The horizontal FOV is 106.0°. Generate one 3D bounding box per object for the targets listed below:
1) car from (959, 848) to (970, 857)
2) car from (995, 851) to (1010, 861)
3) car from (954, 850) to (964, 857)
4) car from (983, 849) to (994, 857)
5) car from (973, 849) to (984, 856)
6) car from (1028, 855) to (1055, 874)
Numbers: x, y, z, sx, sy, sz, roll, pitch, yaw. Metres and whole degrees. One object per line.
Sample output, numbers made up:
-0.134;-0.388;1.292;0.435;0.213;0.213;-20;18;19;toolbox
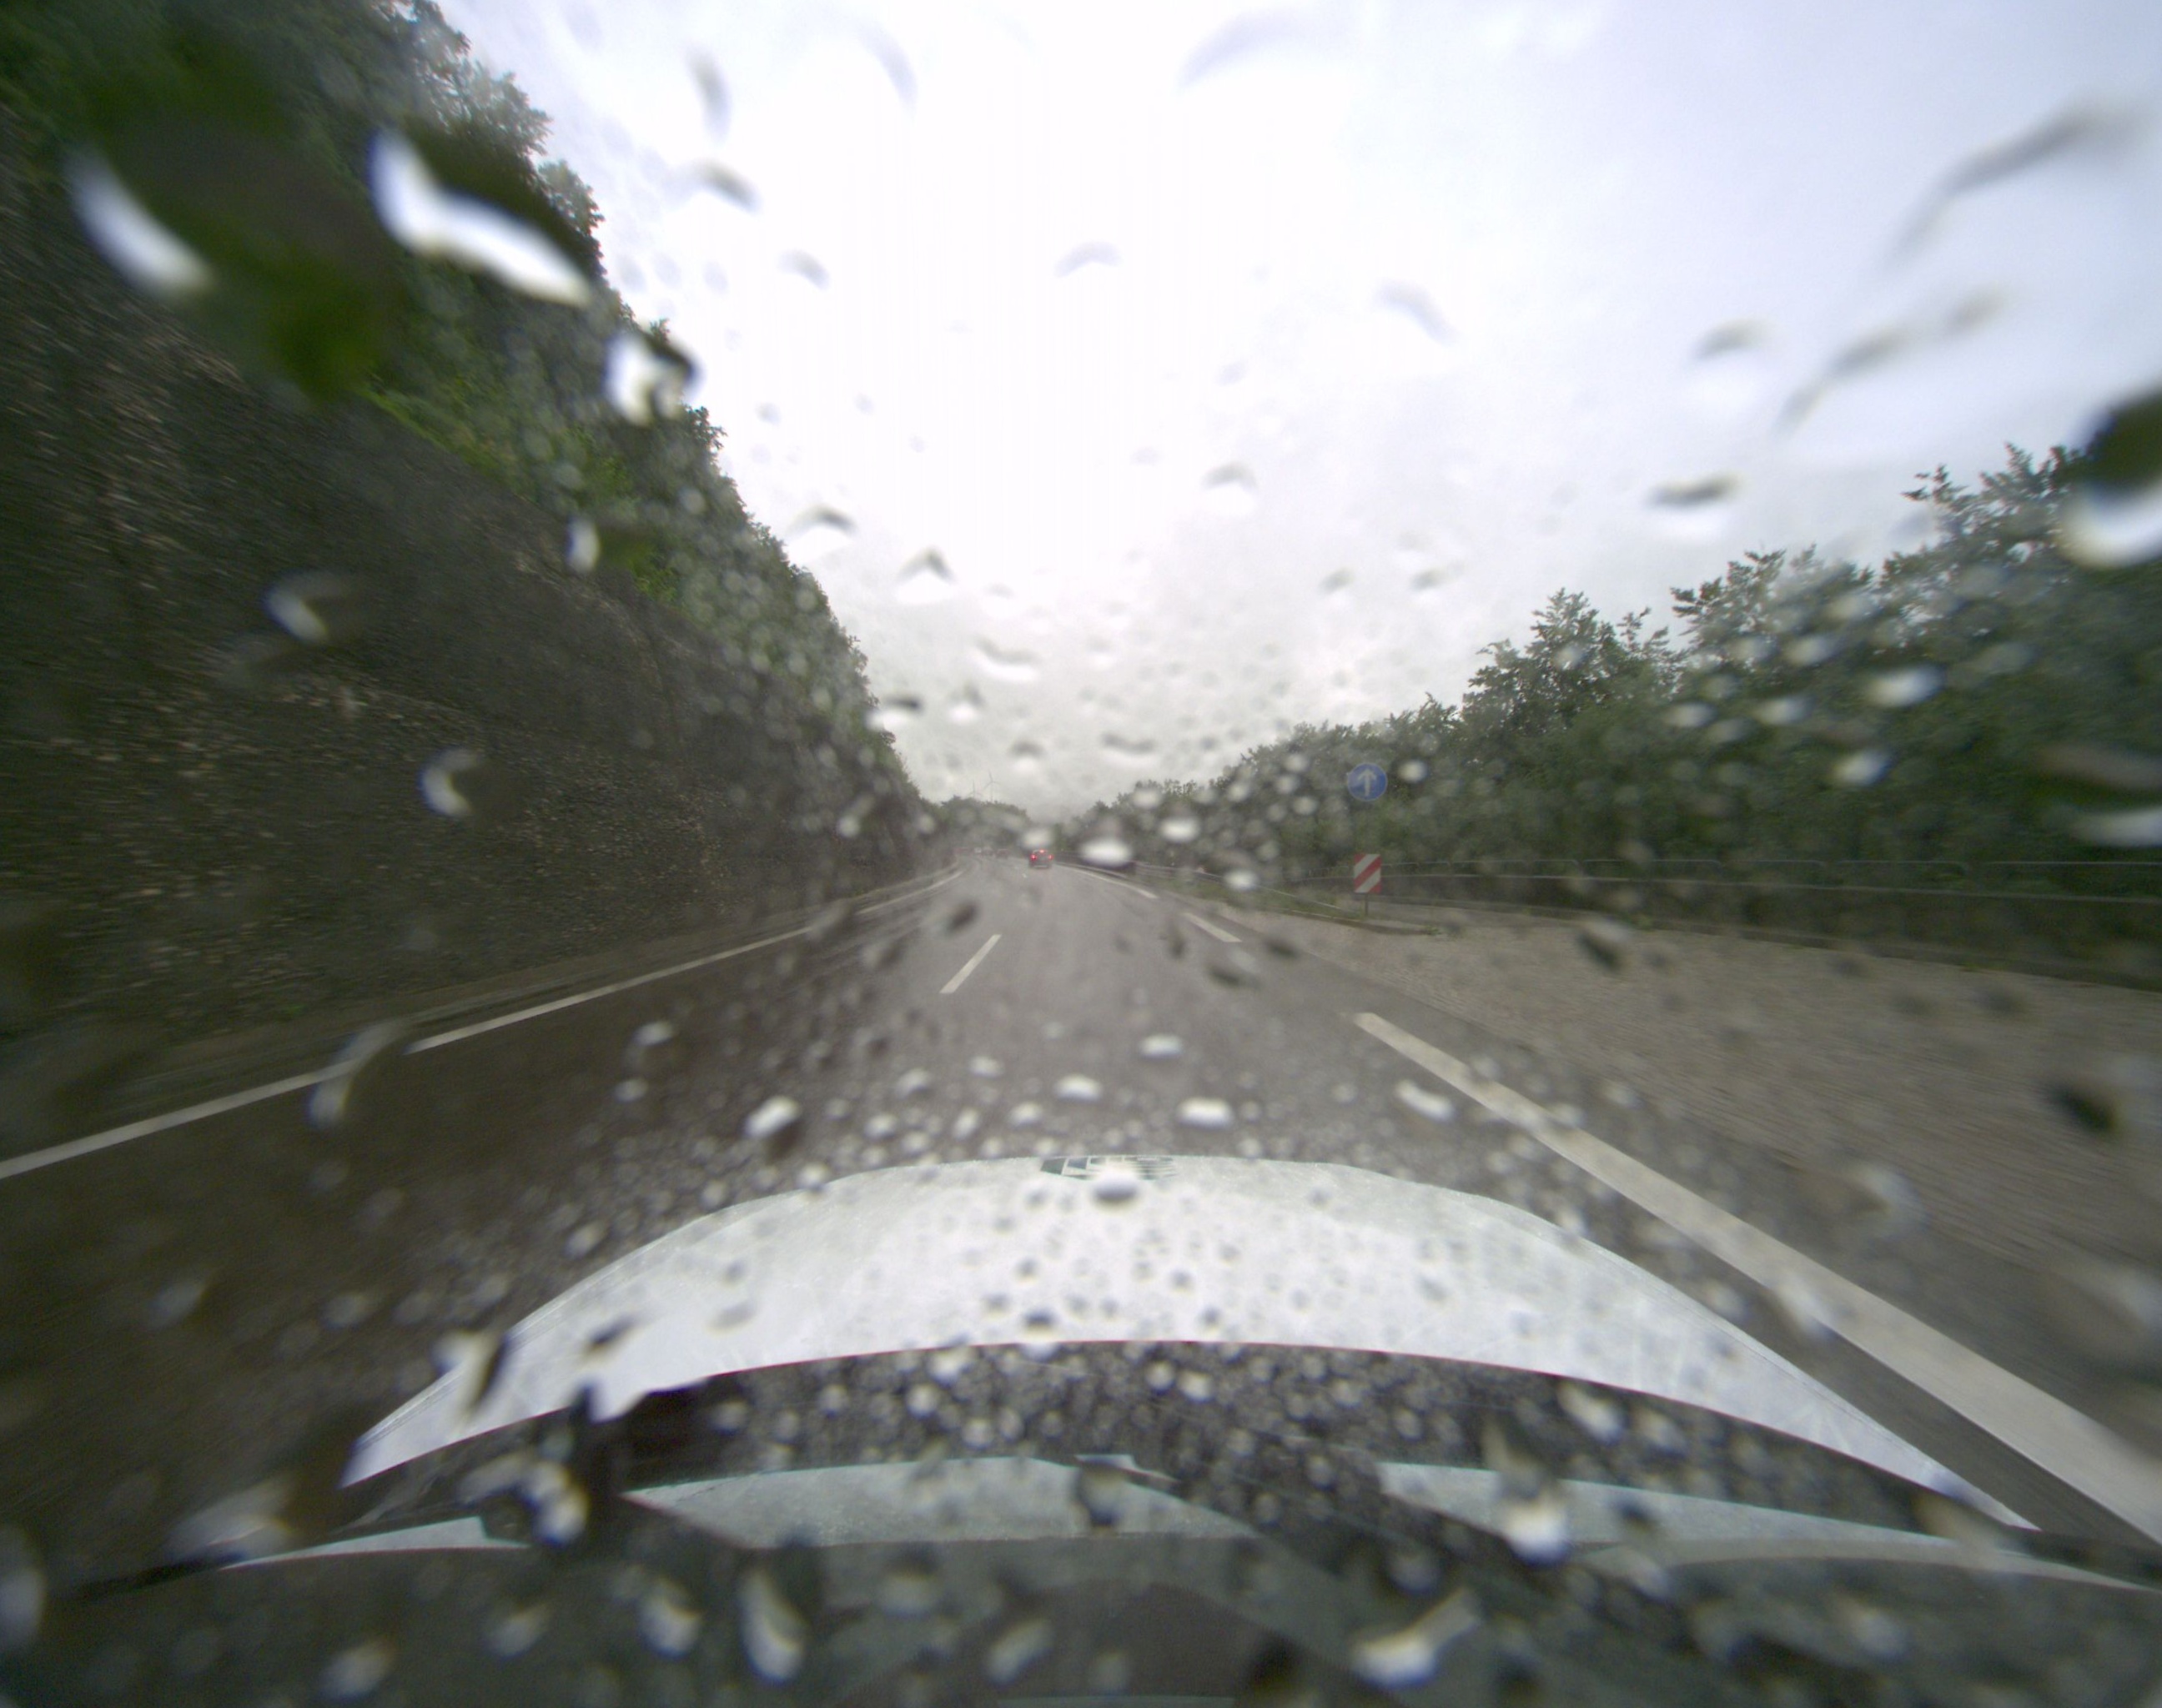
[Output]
-21.777;-0.282;152.423;1.904;1.499;3.986;0;0;-10;car
-12.274;0.240;126.629;1.905;1.499;3.985;0;0;-11;car
-26.805;-0.057;178.847;1.905;1.499;3.983;0;0;-12;car
-17.720;-0.265;155.349;1.904;1.499;3.986;0;0;-10;car
-22.194;-0.360;176.171;1.905;1.499;3.985;0;0;-11;car
-3.374;0.836;68.461;1.903;1.499;3.988;0;0;-9;car
